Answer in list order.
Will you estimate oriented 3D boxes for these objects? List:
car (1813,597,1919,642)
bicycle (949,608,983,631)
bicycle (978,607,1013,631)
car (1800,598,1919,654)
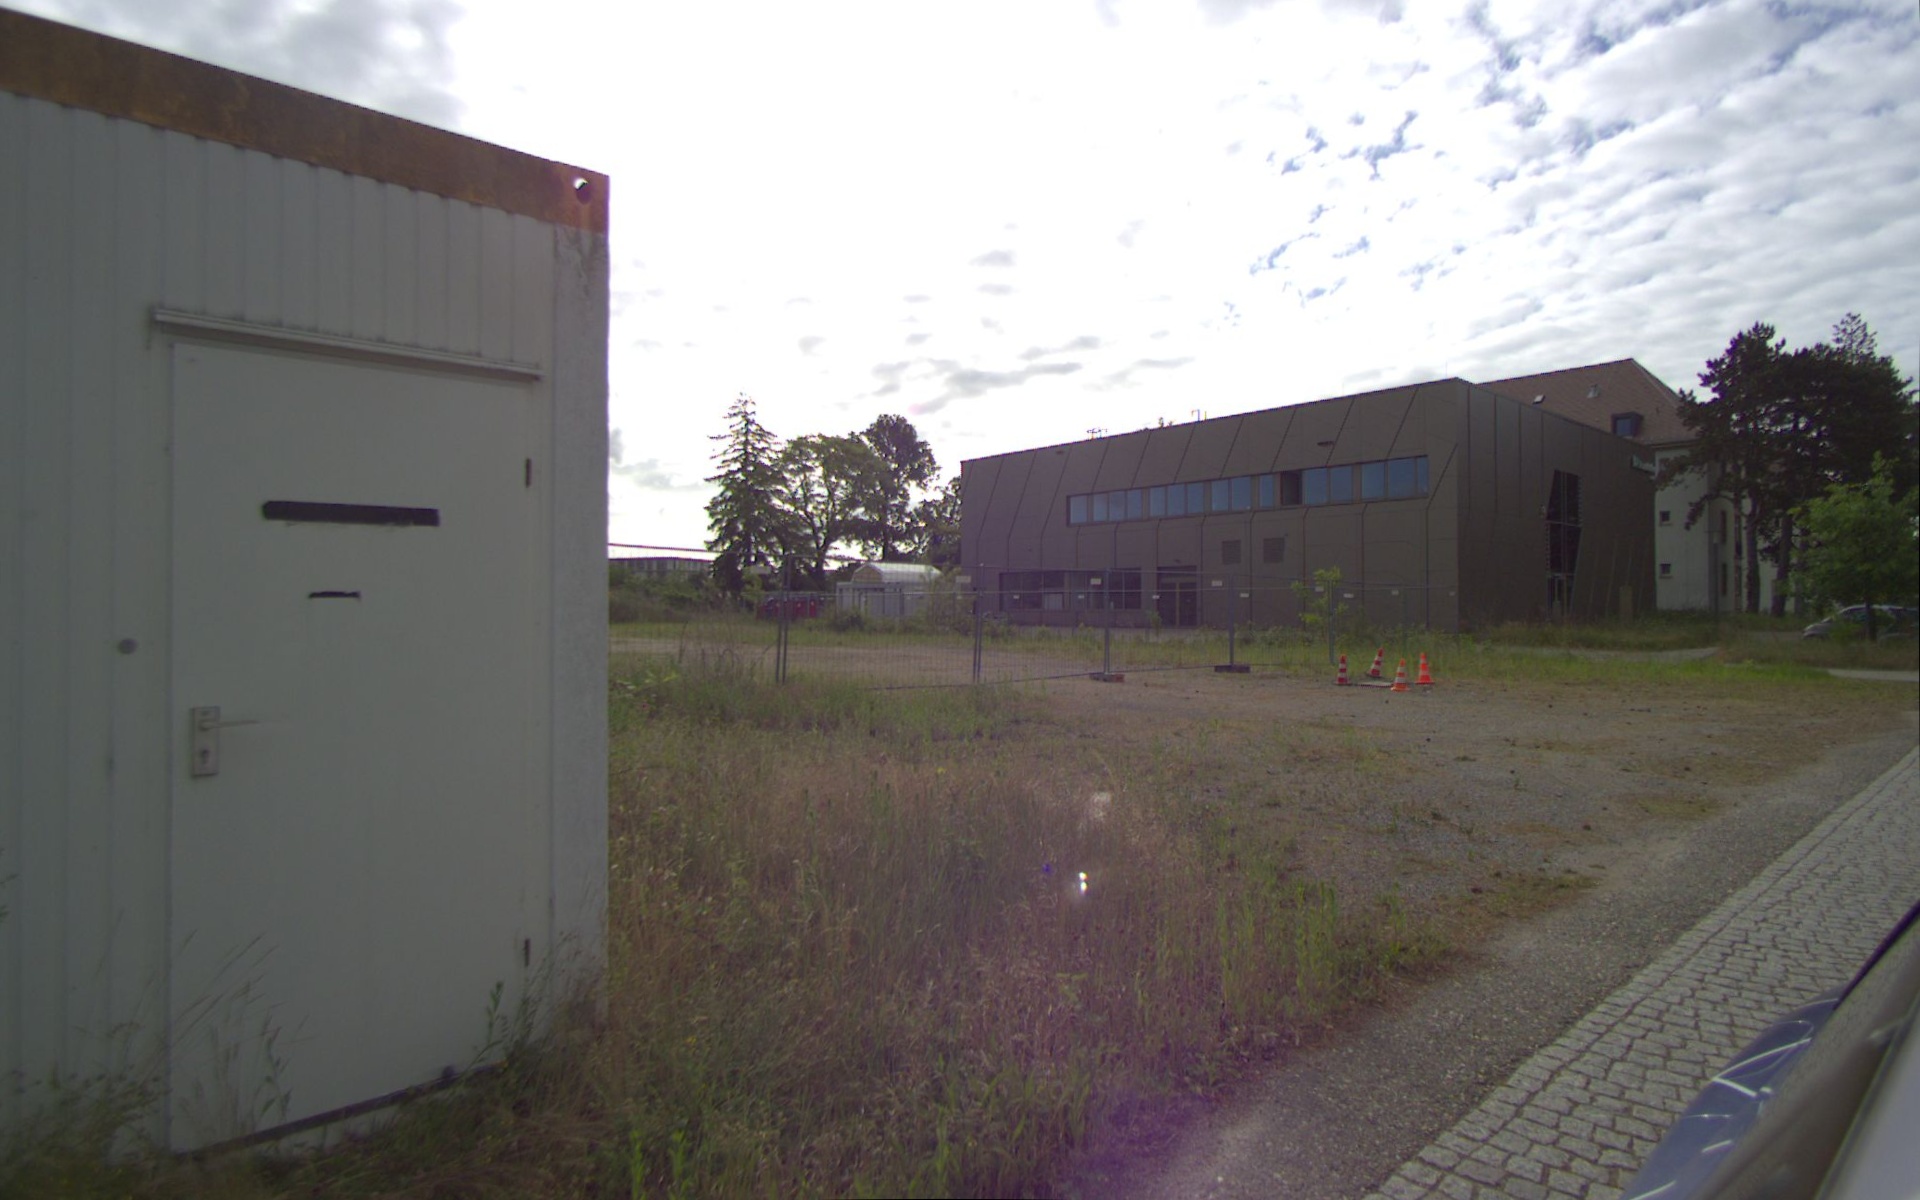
[{"bbox_3d":[33.022,0.681,35.566,1.800,1.494,4.495,0,1,-43],"label":"car"},{"bbox_3d":[0.292,0.966,49.410,1.624,1.099,0.512,0,-1,-32],"label":"bicycle"},{"bbox_3d":[1.689,0.869,47.619,1.624,1.099,0.512,0,-1,-32],"label":"bicycle"},{"bbox_3d":[27.598,0.745,30.902,1.624,1.576,2.716,0,1,-39],"label":"car"}]
